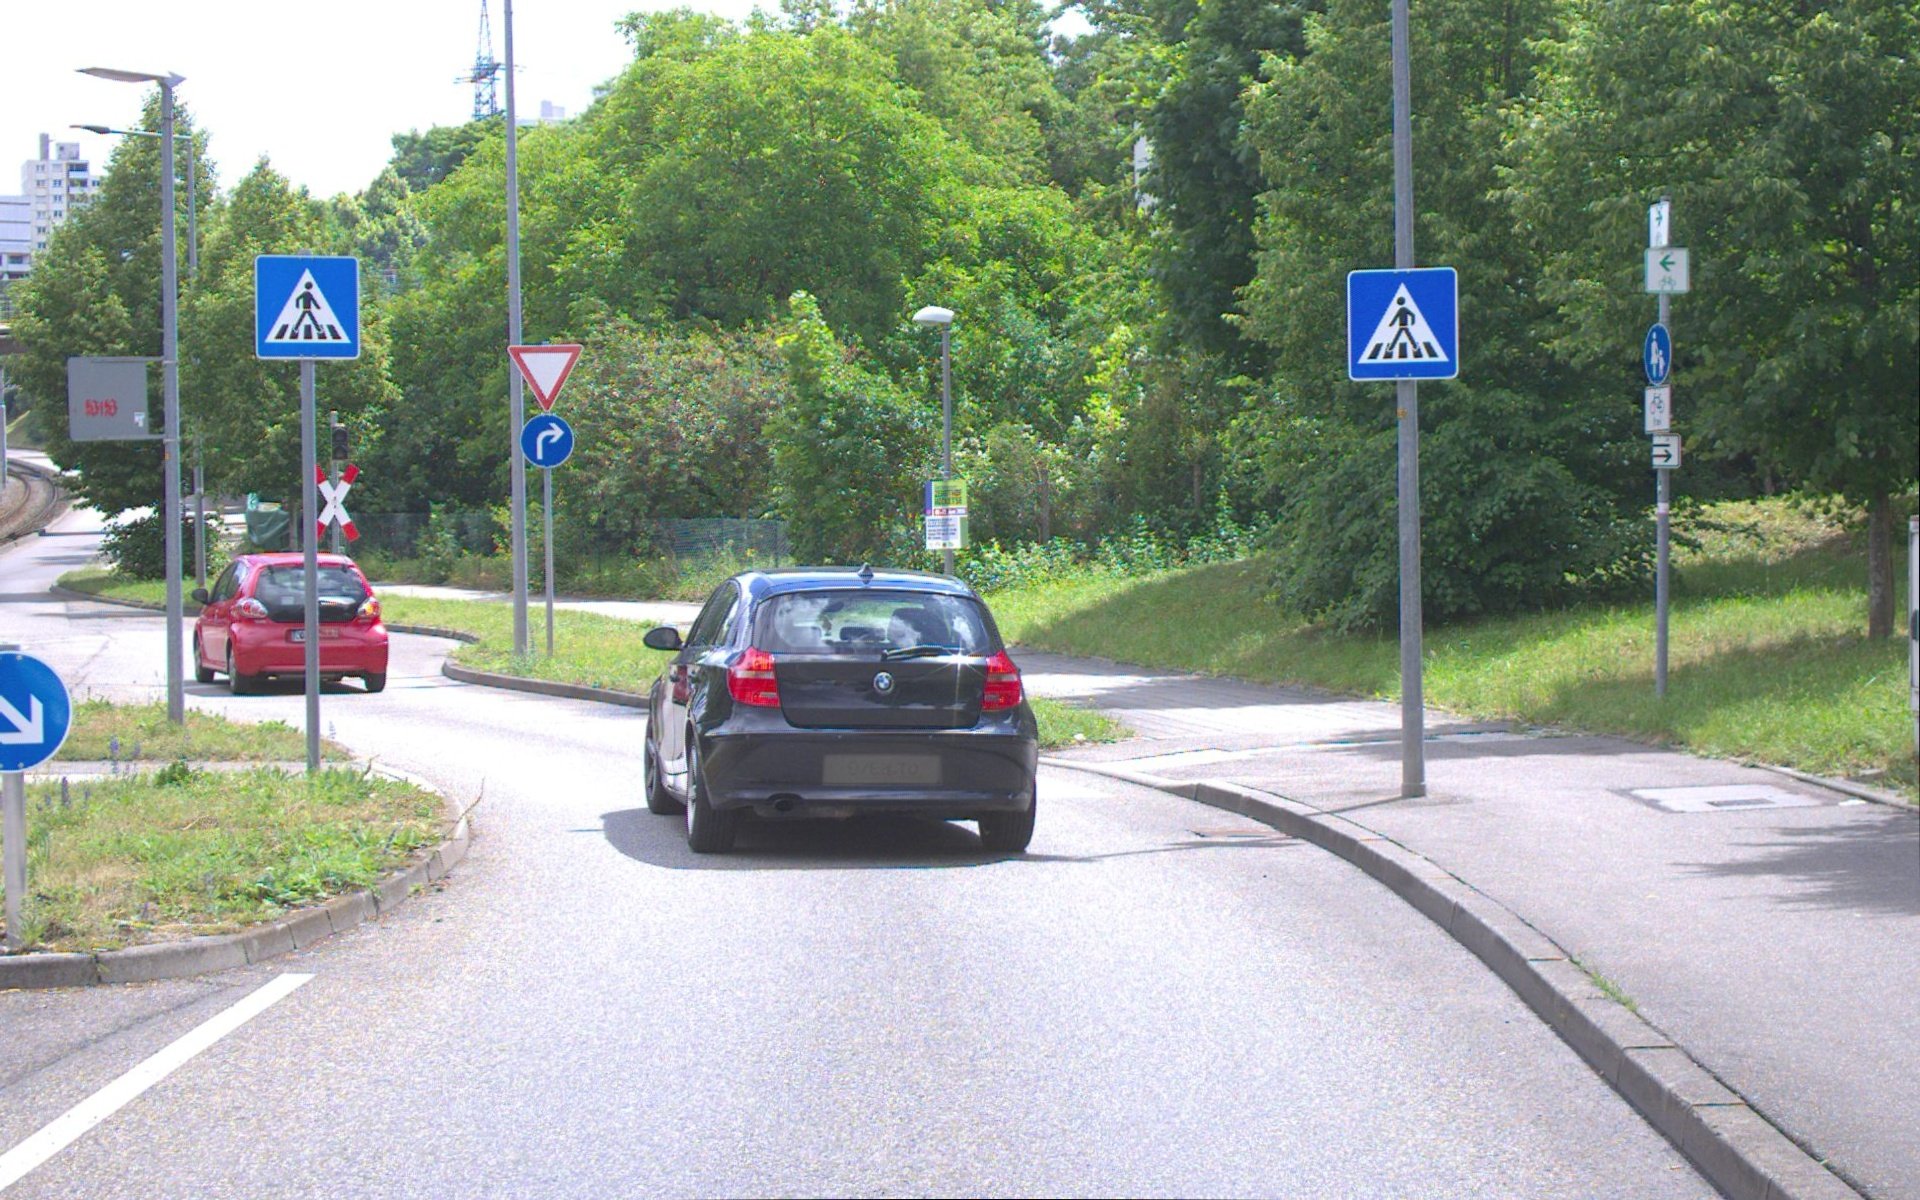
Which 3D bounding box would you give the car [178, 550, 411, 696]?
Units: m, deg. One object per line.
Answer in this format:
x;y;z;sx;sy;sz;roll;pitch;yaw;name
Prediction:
-7.136;0.225;36.635;1.765;1.427;3.479;-2;1;-22;car

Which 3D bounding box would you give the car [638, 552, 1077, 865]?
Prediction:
-0.663;0.507;18.246;1.815;1.416;4.001;-2;0;-9;car
